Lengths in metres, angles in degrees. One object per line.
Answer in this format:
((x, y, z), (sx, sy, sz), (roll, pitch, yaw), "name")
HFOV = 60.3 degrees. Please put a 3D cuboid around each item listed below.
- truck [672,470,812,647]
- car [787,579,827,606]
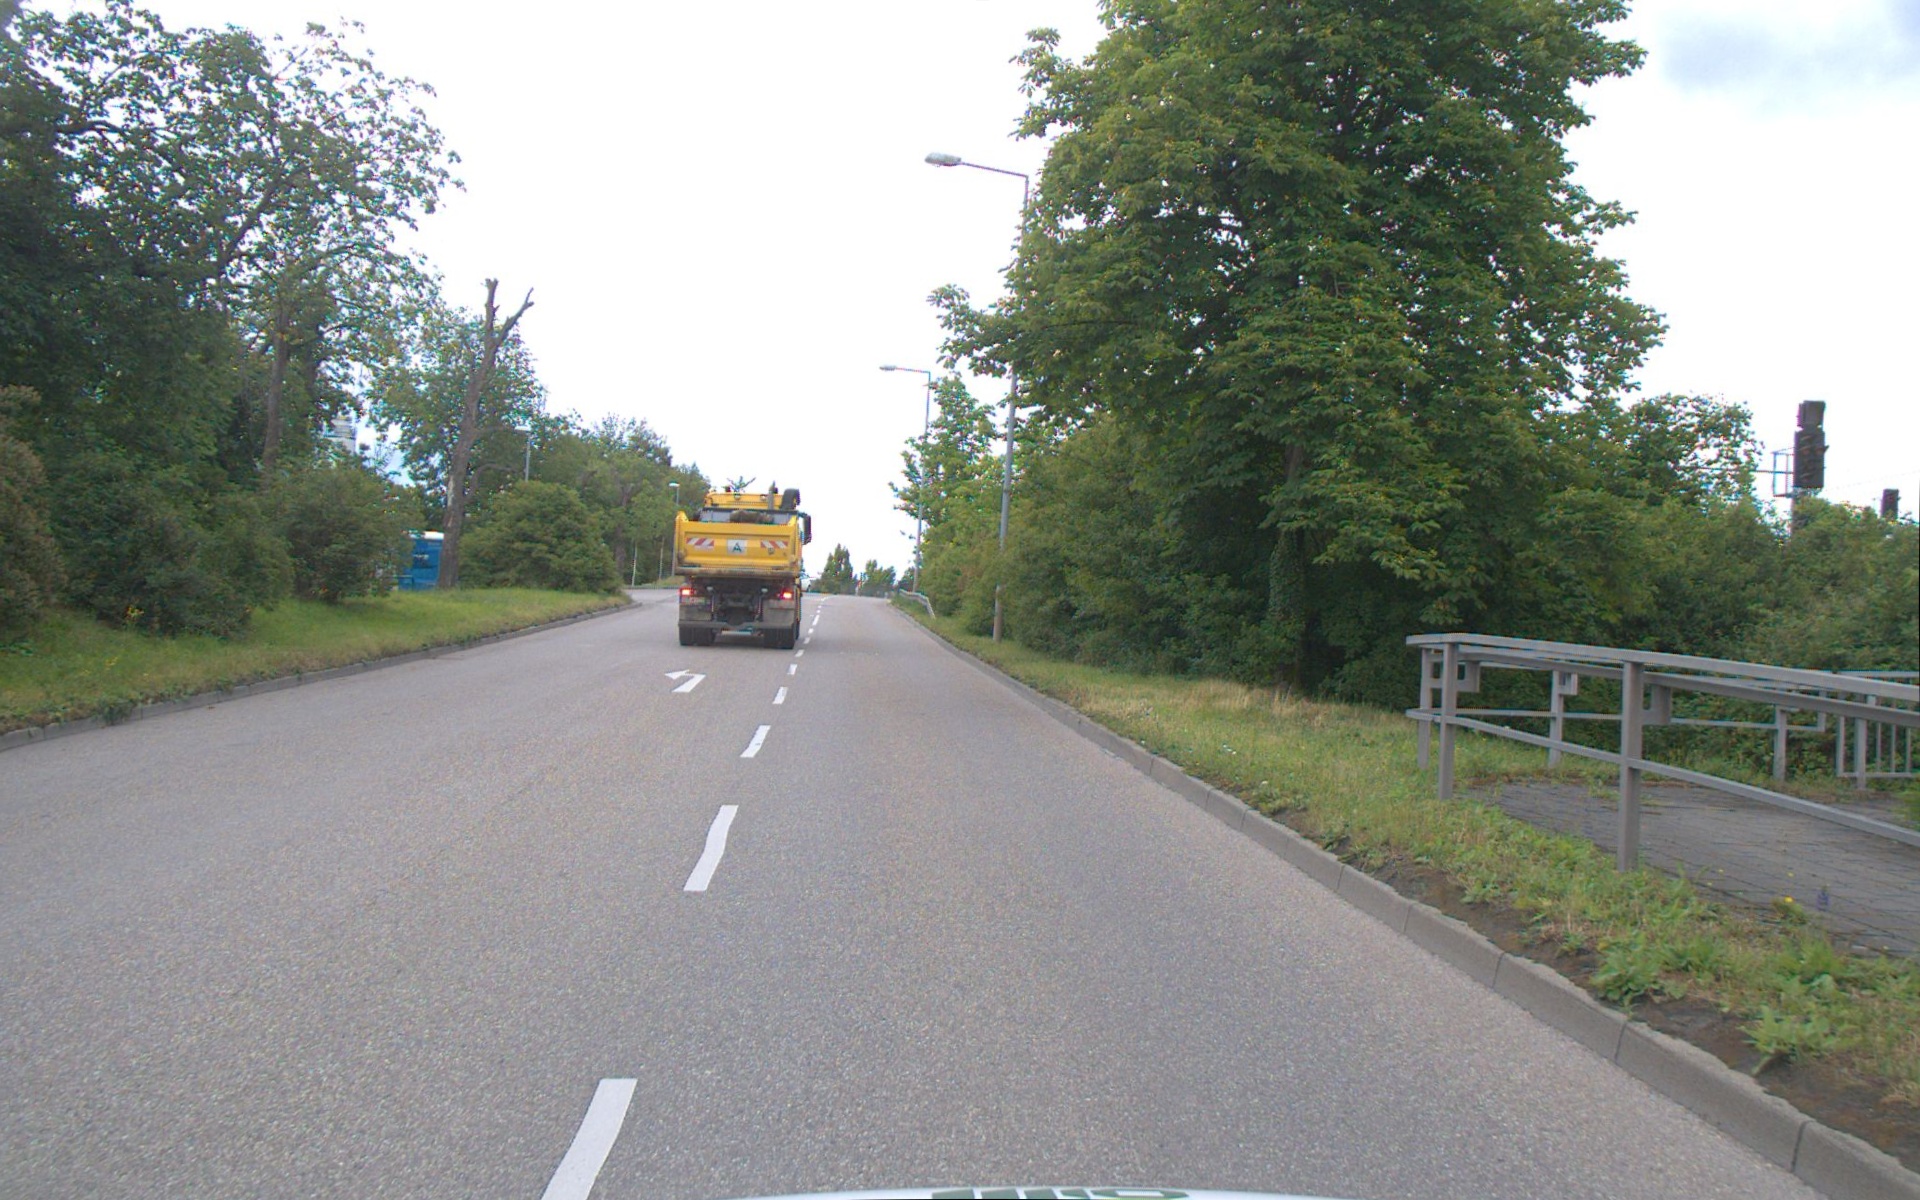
((-4.794, -0.911, 37.665), (2.711, 3.544, 8.121), (1, 1, -5), "truck")
((-10.346, -0.519, 111.934), (1.952, 1.668, 4.002), (3, 0, 4), "car")
